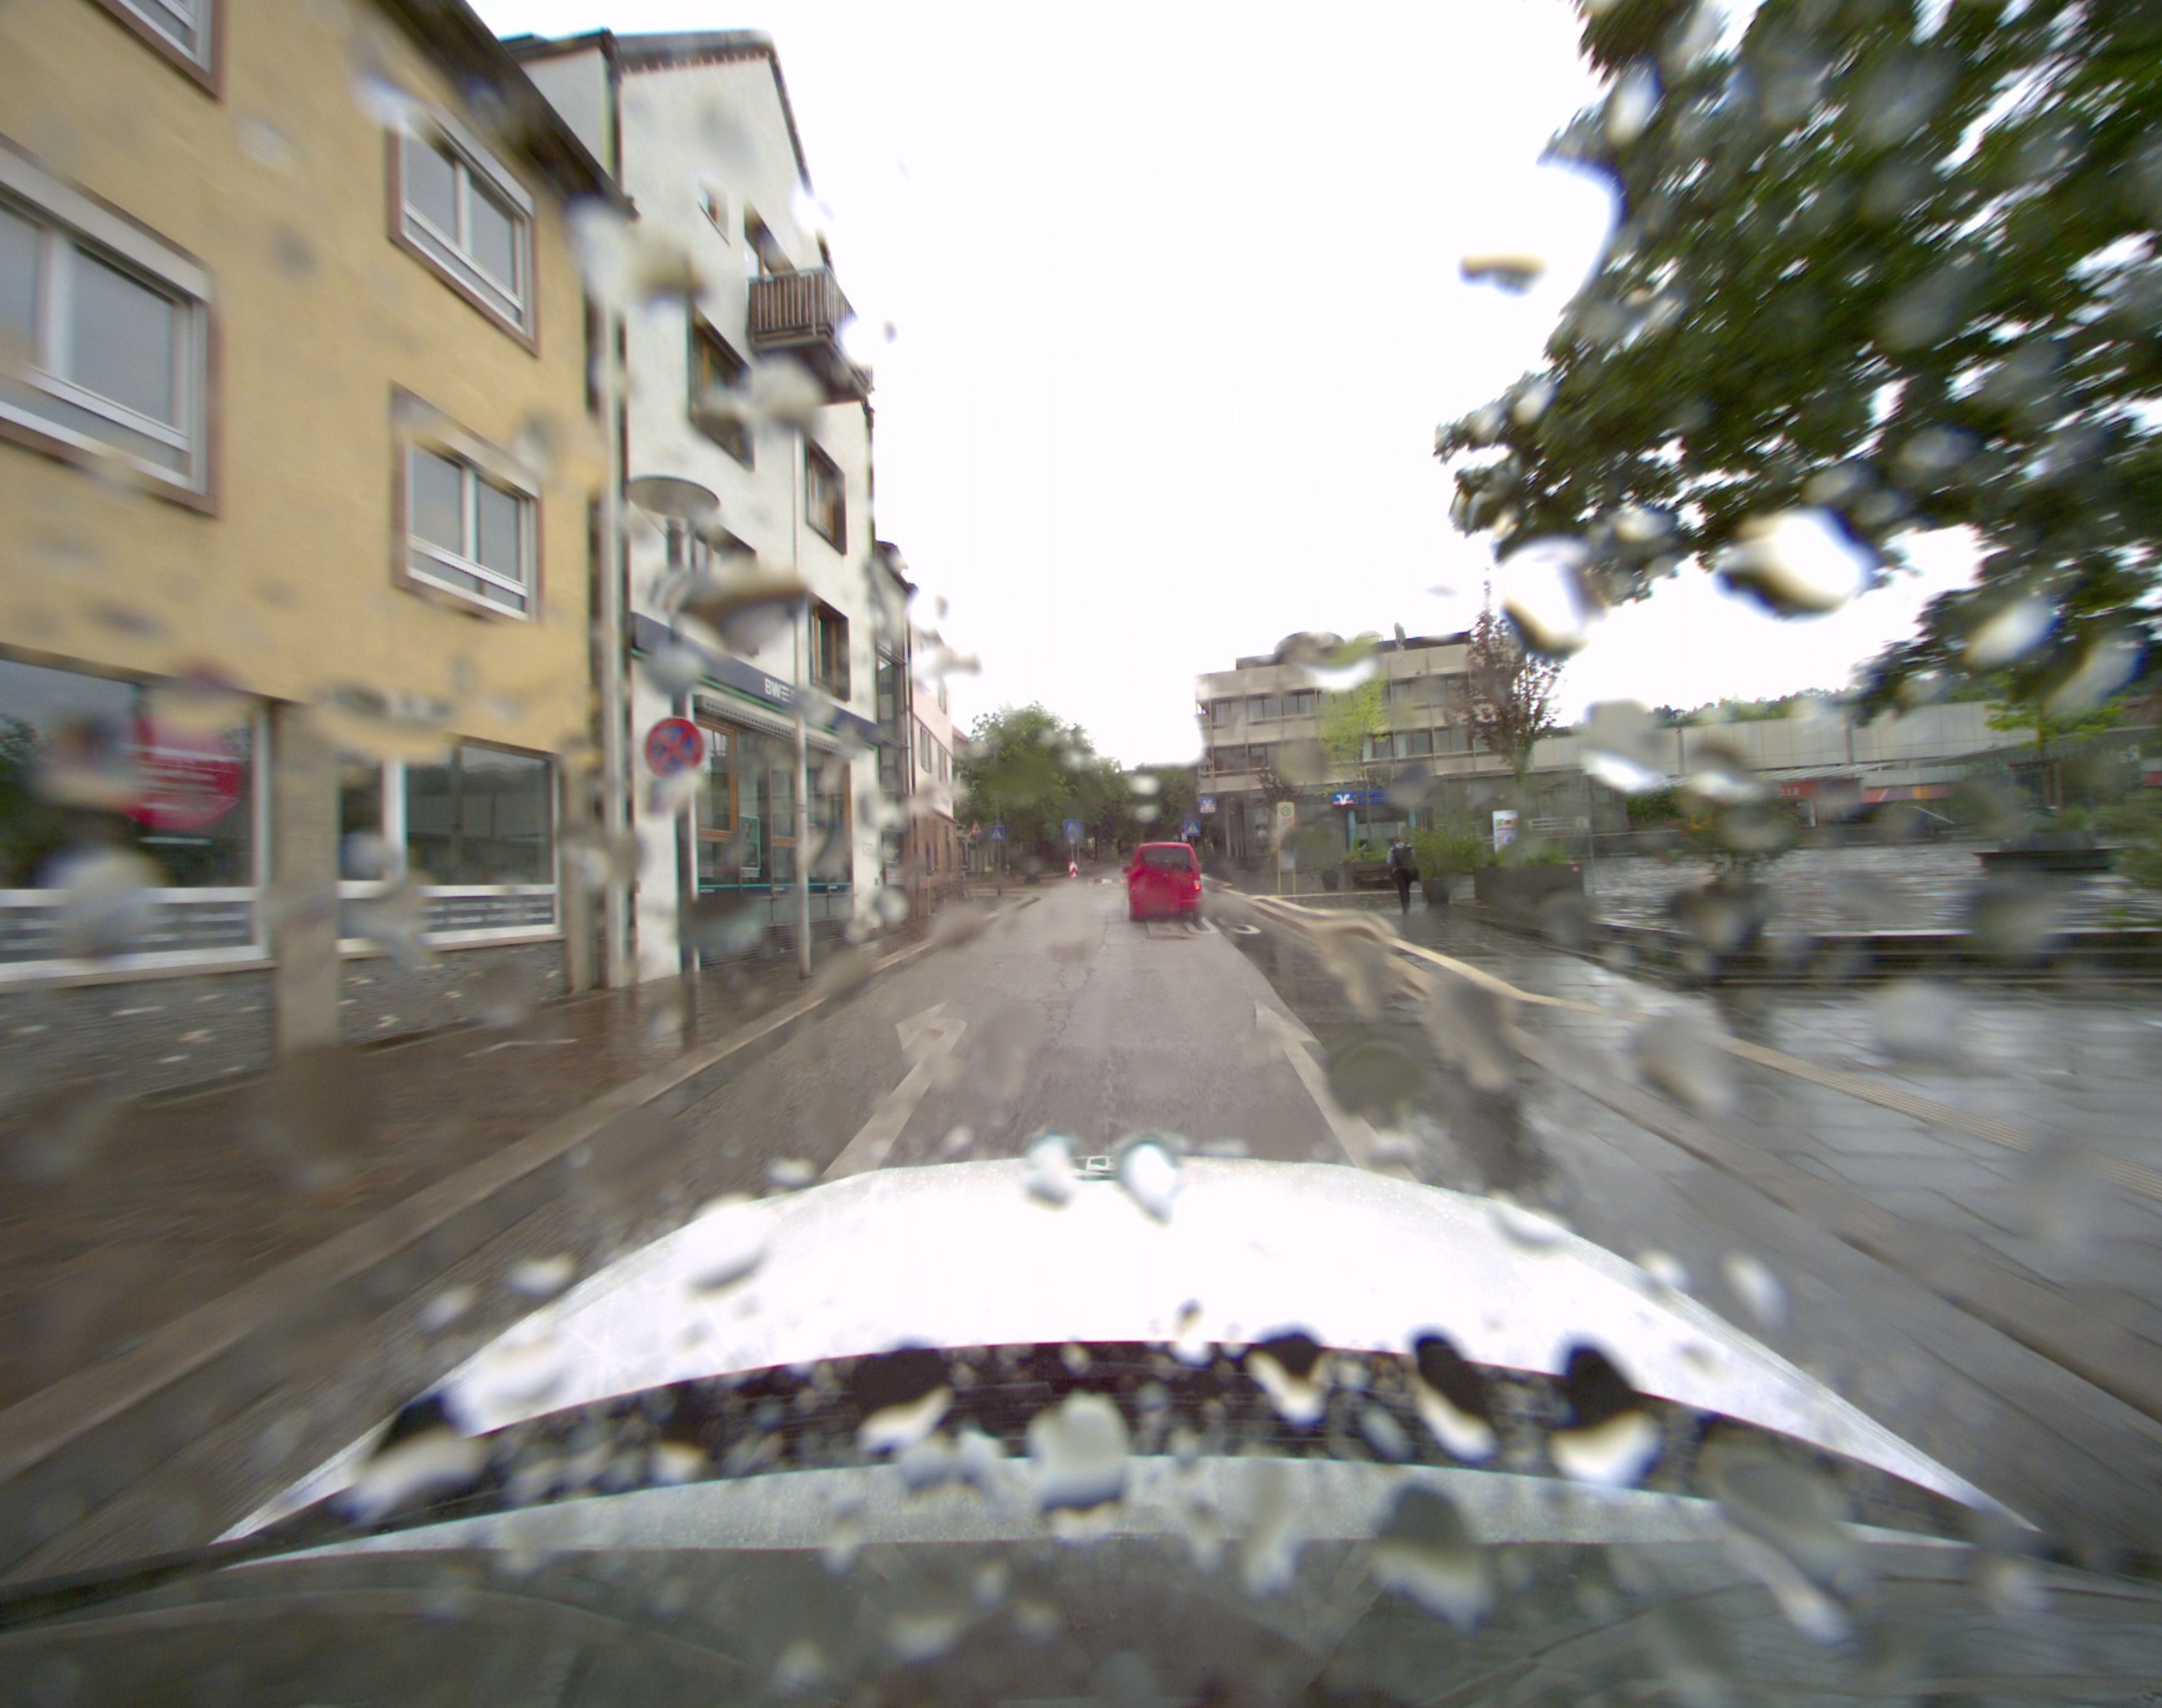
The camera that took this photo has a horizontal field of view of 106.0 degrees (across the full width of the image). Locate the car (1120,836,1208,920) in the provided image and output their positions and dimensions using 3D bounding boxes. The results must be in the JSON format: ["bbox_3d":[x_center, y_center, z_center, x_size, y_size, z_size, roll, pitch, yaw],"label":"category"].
[{"bbox_3d":[1.986,0.572,20.584,1.855,1.830,4.187,-3,-1,2],"label":"car"}]

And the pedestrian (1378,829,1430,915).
[{"bbox_3d":[6.368,0.351,16.103,0.724,1.617,0.695,-3,-1,8],"label":"pedestrian"}]
